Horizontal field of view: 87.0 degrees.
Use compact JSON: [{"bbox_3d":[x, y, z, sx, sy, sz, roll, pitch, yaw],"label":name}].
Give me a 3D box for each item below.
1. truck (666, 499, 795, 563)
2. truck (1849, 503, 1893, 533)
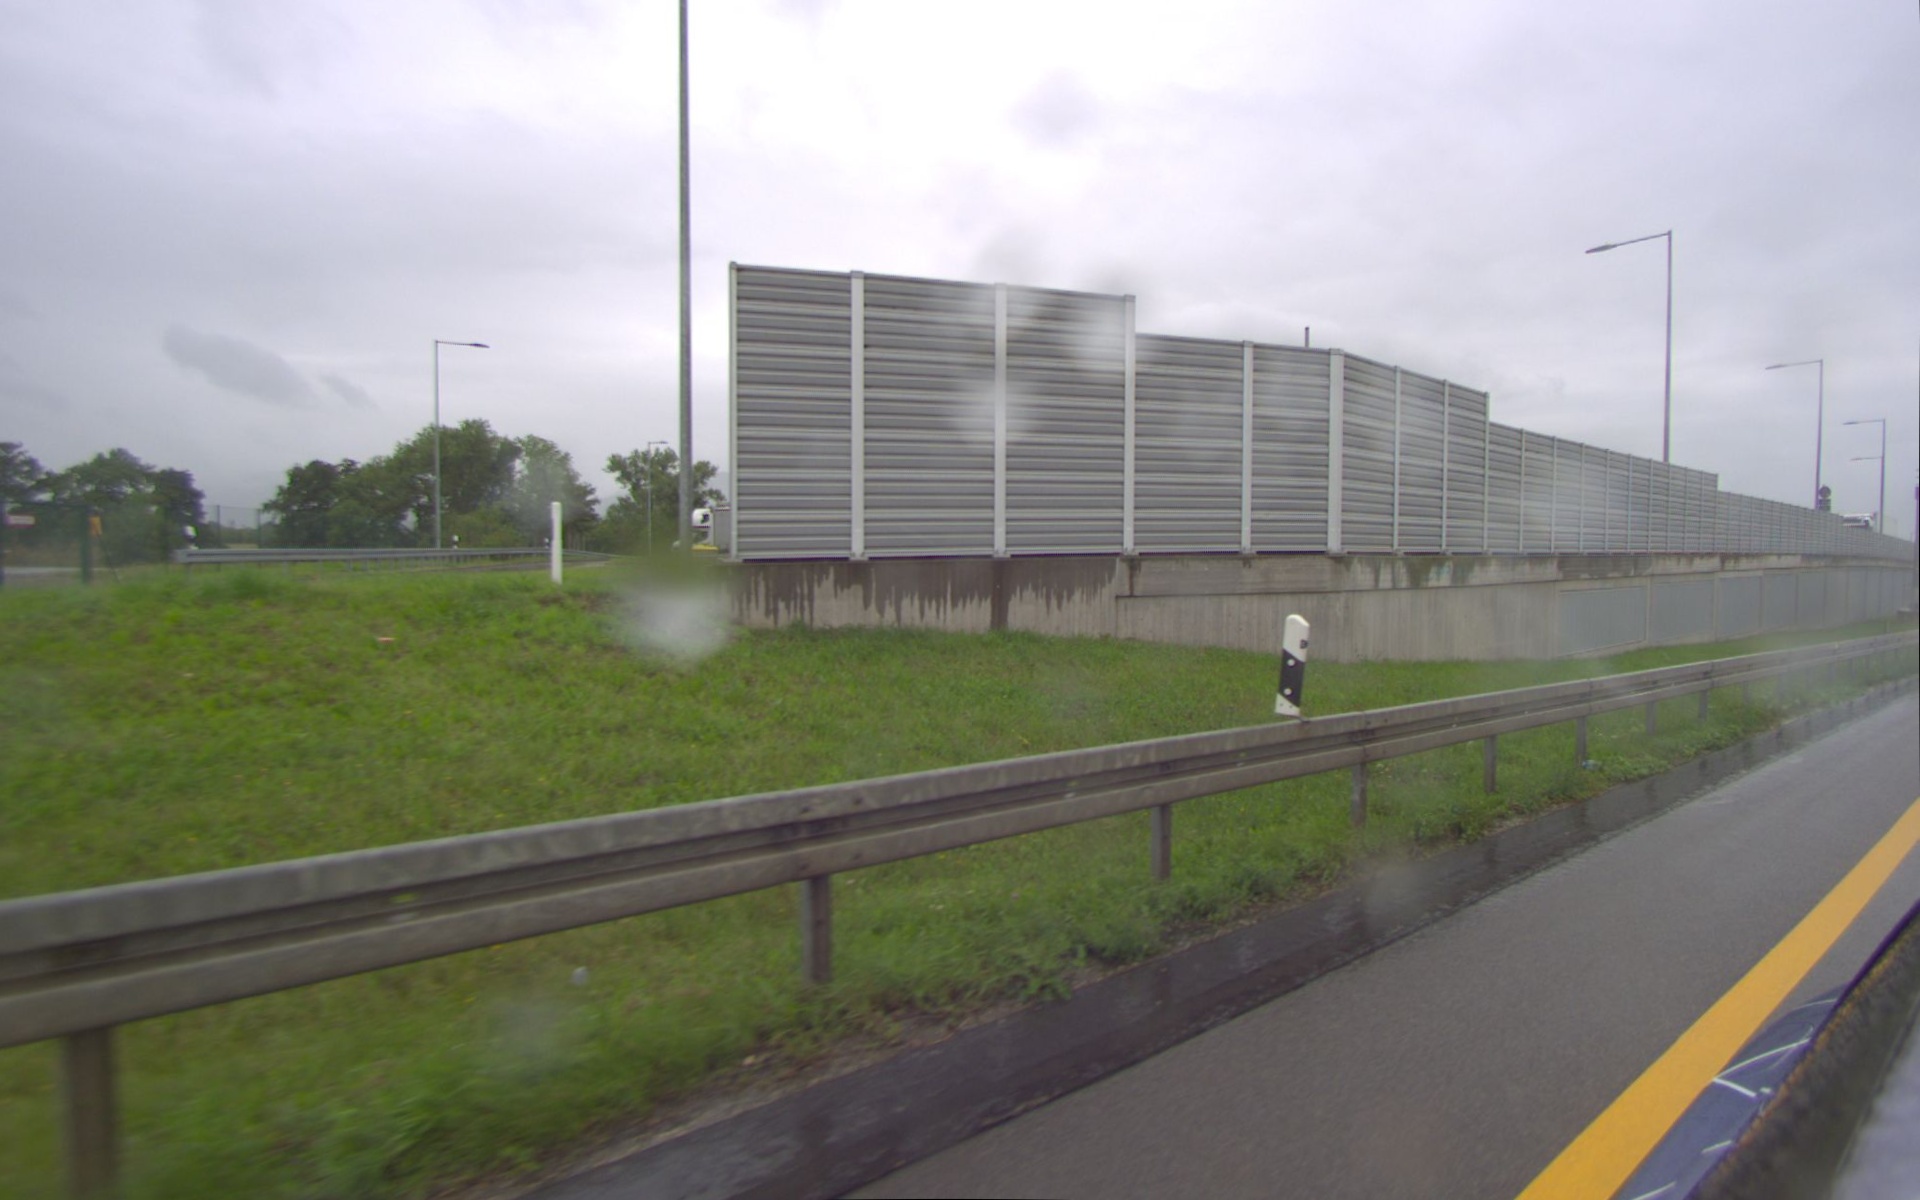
[{"bbox_3d":[-16.296,-4.840,72.473,2.862,4.254,8.838,0,1,44],"label":"truck"},{"bbox_3d":[69.379,-6.210,77.064,3.989,2.039,1.997,-2,1,-41],"label":"truck"}]
